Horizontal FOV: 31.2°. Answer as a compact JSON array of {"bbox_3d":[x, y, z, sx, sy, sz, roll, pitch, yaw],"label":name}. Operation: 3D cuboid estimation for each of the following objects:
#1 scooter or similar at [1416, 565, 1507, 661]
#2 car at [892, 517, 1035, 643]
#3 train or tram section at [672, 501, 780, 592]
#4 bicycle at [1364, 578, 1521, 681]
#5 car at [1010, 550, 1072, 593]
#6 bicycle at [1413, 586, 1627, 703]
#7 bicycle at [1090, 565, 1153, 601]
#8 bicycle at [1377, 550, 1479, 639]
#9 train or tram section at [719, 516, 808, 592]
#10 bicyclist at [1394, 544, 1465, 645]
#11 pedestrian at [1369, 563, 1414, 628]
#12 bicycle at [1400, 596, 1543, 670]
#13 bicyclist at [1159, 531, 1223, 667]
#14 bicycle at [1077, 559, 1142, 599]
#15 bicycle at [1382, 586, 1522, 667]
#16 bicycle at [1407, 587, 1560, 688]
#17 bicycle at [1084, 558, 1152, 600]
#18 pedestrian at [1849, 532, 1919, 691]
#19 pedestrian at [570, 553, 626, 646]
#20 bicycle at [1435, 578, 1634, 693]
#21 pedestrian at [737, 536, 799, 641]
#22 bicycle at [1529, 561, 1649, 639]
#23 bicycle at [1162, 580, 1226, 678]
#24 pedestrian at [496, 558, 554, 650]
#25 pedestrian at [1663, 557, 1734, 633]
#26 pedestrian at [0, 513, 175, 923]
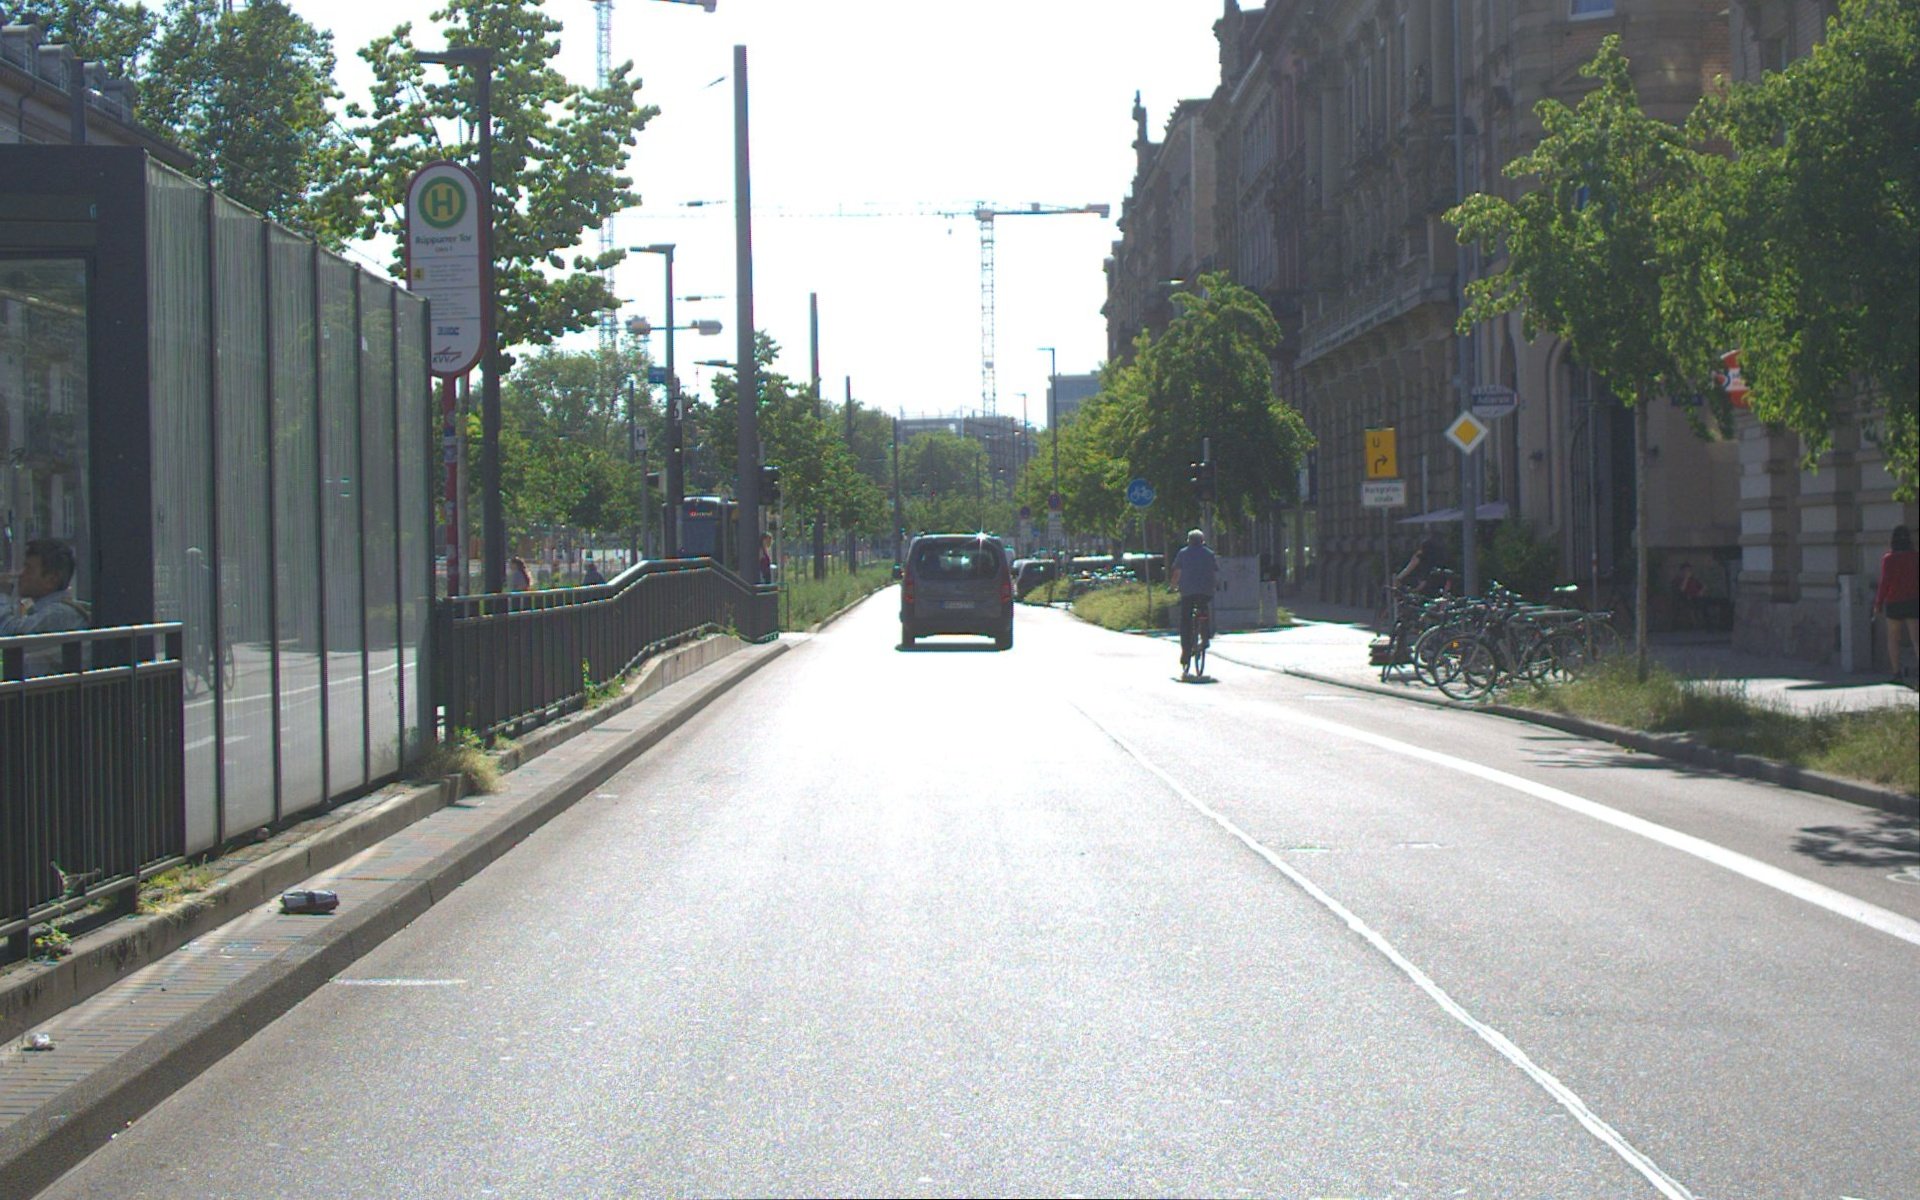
[{"bbox_3d":[6.405,0.169,43.936,1.111,1.185,0.419,-2,1,7],"label":"scooter or similar"},{"bbox_3d":[0.021,-0.335,55.925,2.200,1.919,4.654,-1,1,-1],"label":"car"},{"bbox_3d":[-7.432,-1.649,110.320,2.756,2.733,9.864,1,0,0],"label":"train or tram section"},{"bbox_3d":[5.662,0.348,40.381,1.723,1.097,0.607,-3,1,3],"label":"bicycle"},{"bbox_3d":[2.903,-1.041,124.403,2.028,1.493,4.654,-1,1,-1],"label":"car"},{"bbox_3d":[5.880,0.458,36.143,1.994,1.089,0.847,-4,1,-10],"label":"bicycle"},{"bbox_3d":[4.685,-0.496,99.612,1.792,1.027,0.527,-1,1,-1],"label":"bicycle"},{"bbox_3d":[7.410,-0.074,54.478,0.615,1.326,1.900,-5,1,-23],"label":"bicycle"},{"bbox_3d":[-7.356,-1.680,130.015,2.756,2.733,9.864,1,0,0],"label":"train or tram section"},{"bbox_3d":[7.434,-0.081,54.446,0.660,1.525,0.801,-5,1,-23],"label":"bicyclist"},{"bbox_3d":[7.999,-0.083,63.751,0.706,1.174,0.635,-3,1,-1],"label":"pedestrian"},{"bbox_3d":[6.223,0.399,41.863,1.670,0.818,0.607,-2,1,6],"label":"bicycle"},{"bbox_3d":[2.890,-0.018,43.093,0.684,1.667,0.922,1,1,-1],"label":"bicyclist"},{"bbox_3d":[4.382,-0.624,100.956,1.792,1.027,0.527,-5,1,0],"label":"bicycle"},{"bbox_3d":[6.075,0.329,42.527,1.670,0.940,0.606,-2,1,7],"label":"bicycle"},{"bbox_3d":[5.906,0.419,38.827,1.600,1.042,0.607,-3,1,3],"label":"bicycle"},{"bbox_3d":[4.432,-0.602,96.562,1.792,1.027,0.527,-5,1,0],"label":"bicycle"},{"bbox_3d":[9.223,0.102,33.746,0.709,1.536,0.927,-1,1,-1],"label":"pedestrian"},{"bbox_3d":[-5.987,-0.013,56.892,0.812,1.531,0.798,0,1,1],"label":"pedestrian"},{"bbox_3d":[6.258,0.384,37.517,1.995,1.124,0.710,-3,1,1],"label":"bicycle"},{"bbox_3d":[-3.544,-0.212,63.512,1.075,1.902,0.653,-1,1,-7],"label":"pedestrian"},{"bbox_3d":[10.014,-0.003,54.759,1.817,1.167,0.654,-1,4,3],"label":"bicycle"},{"bbox_3d":[2.915,0.346,42.952,0.601,1.177,1.869,1,1,-1],"label":"bicycle"},{"bbox_3d":[-7.324,0.056,57.965,0.865,1.531,0.909,0,1,0],"label":"pedestrian"},{"bbox_3d":[11.993,-0.086,55.851,0.849,1.210,0.934,0,1,-7],"label":"pedestrian"},{"bbox_3d":[-3.548,0.438,13.279,0.812,1.531,0.798,-1,1,1],"label":"pedestrian"}]
